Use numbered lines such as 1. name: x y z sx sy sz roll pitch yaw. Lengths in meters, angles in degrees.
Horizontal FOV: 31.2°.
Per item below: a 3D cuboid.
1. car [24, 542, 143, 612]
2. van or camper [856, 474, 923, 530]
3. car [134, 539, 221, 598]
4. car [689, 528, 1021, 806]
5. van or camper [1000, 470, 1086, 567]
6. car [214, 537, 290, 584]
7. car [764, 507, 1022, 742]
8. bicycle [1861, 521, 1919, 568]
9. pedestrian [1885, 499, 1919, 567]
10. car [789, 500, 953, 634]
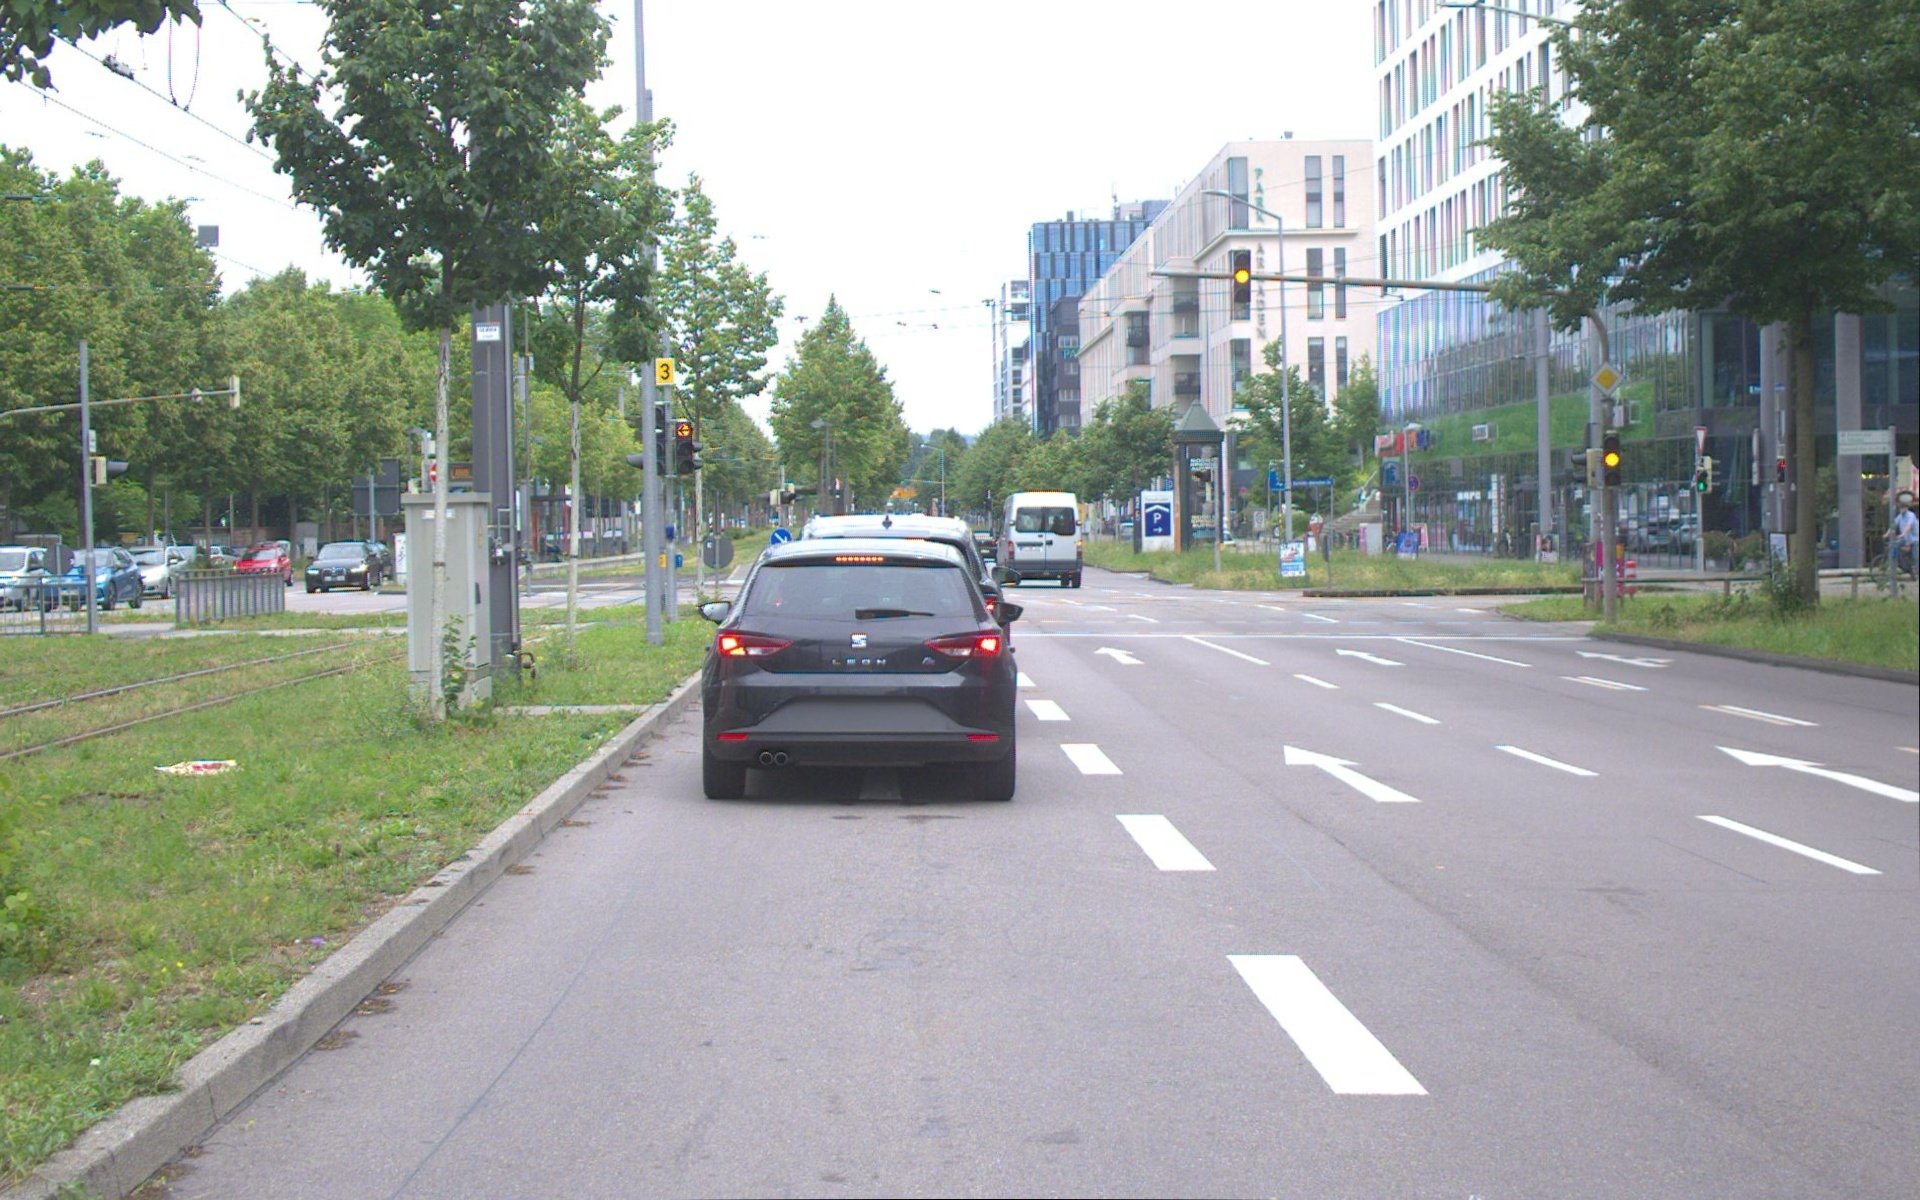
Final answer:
1. car: -21.438 -0.591 84.252 1.964 1.583 4.690 0 2 -3
2. van or camper: -2.145 -3.057 106.242 1.993 1.609 4.790 0 3 0
3. car: -23.545 -0.977 103.573 1.721 1.637 4.676 -1 2 -3
4. car: -0.615 0.317 20.165 1.743 1.412 4.001 0 2 -2
5. van or camper: 2.156 -2.177 90.640 2.109 2.347 4.924 0 4 0
6. car: -25.424 -1.444 123.518 1.796 1.565 4.328 -1 2 0
7. car: -0.507 0.118 26.314 1.802 1.618 4.001 -1 2 -1
8. bicycle: 22.224 -1.321 81.012 1.792 1.082 0.618 -1 2 1
9. pedestrian: 22.196 -1.583 81.005 0.614 1.598 0.618 -1 2 2
10. car: -1.142 -0.475 45.824 1.993 1.676 4.000 0 2 1
